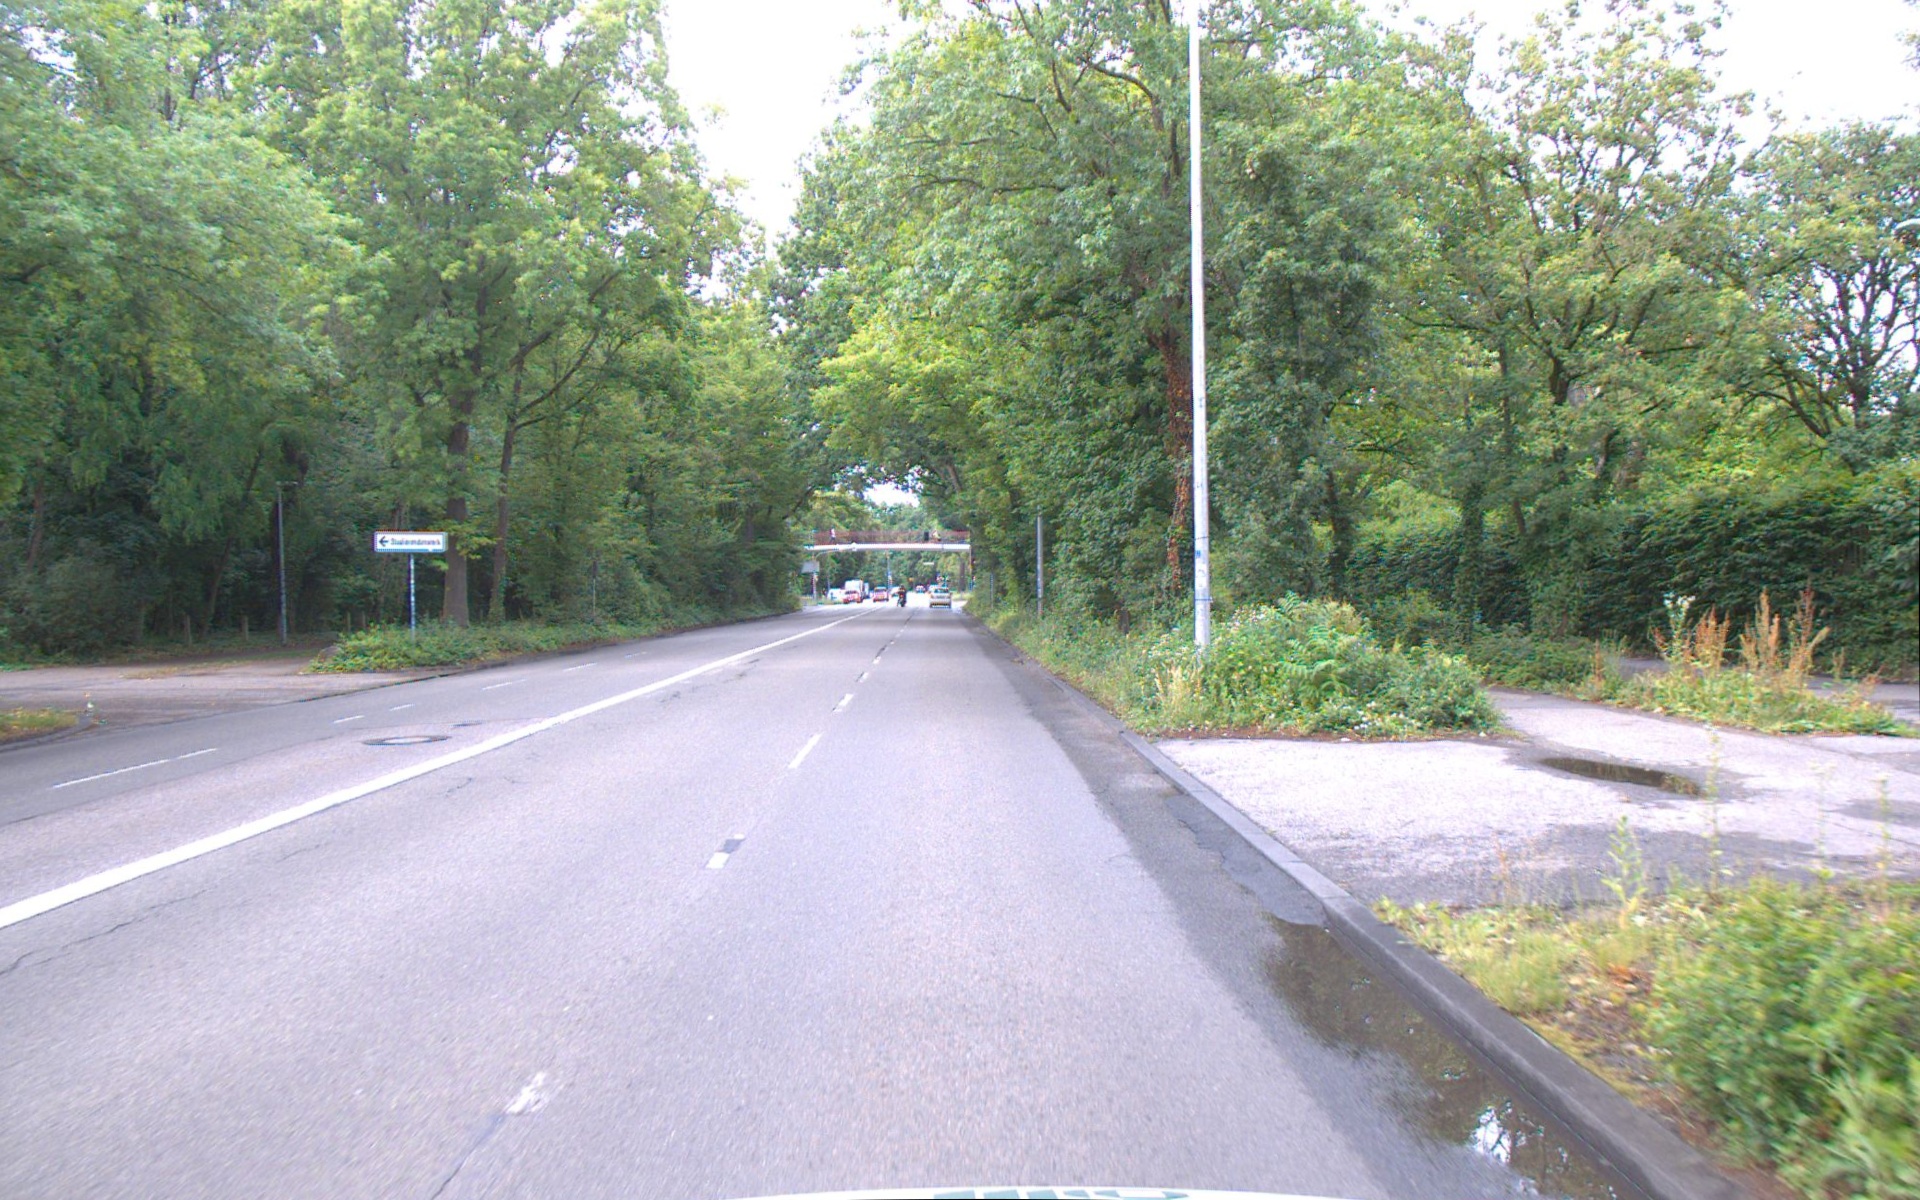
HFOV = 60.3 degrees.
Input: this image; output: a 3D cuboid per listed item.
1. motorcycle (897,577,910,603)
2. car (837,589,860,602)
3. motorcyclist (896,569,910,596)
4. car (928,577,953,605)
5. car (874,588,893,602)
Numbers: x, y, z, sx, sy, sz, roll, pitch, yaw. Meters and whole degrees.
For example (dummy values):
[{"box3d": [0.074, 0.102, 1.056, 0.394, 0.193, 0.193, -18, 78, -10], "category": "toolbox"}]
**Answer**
[{"box3d": [-4.320, -0.759, 126.064, 0.970, 1.970, 2.668, 0, 1, -1], "category": "motorcycle"}, {"box3d": [-11.397, -0.472, 168.706, 1.952, 1.377, 3.896, 0, 1, 2], "category": "car"}, {"box3d": [-4.333, -1.364, 125.920, 1.042, 2.049, 0.842, 0, 0, -1], "category": "motorcyclist"}, {"box3d": [-1.474, -0.688, 122.388, 1.806, 2.049, 3.999, 0, 1, -1], "category": "car"}, {"box3d": [-7.787, -0.491, 169.408, 1.640, 1.386, 3.922, 0, 1, 2], "category": "car"}]
